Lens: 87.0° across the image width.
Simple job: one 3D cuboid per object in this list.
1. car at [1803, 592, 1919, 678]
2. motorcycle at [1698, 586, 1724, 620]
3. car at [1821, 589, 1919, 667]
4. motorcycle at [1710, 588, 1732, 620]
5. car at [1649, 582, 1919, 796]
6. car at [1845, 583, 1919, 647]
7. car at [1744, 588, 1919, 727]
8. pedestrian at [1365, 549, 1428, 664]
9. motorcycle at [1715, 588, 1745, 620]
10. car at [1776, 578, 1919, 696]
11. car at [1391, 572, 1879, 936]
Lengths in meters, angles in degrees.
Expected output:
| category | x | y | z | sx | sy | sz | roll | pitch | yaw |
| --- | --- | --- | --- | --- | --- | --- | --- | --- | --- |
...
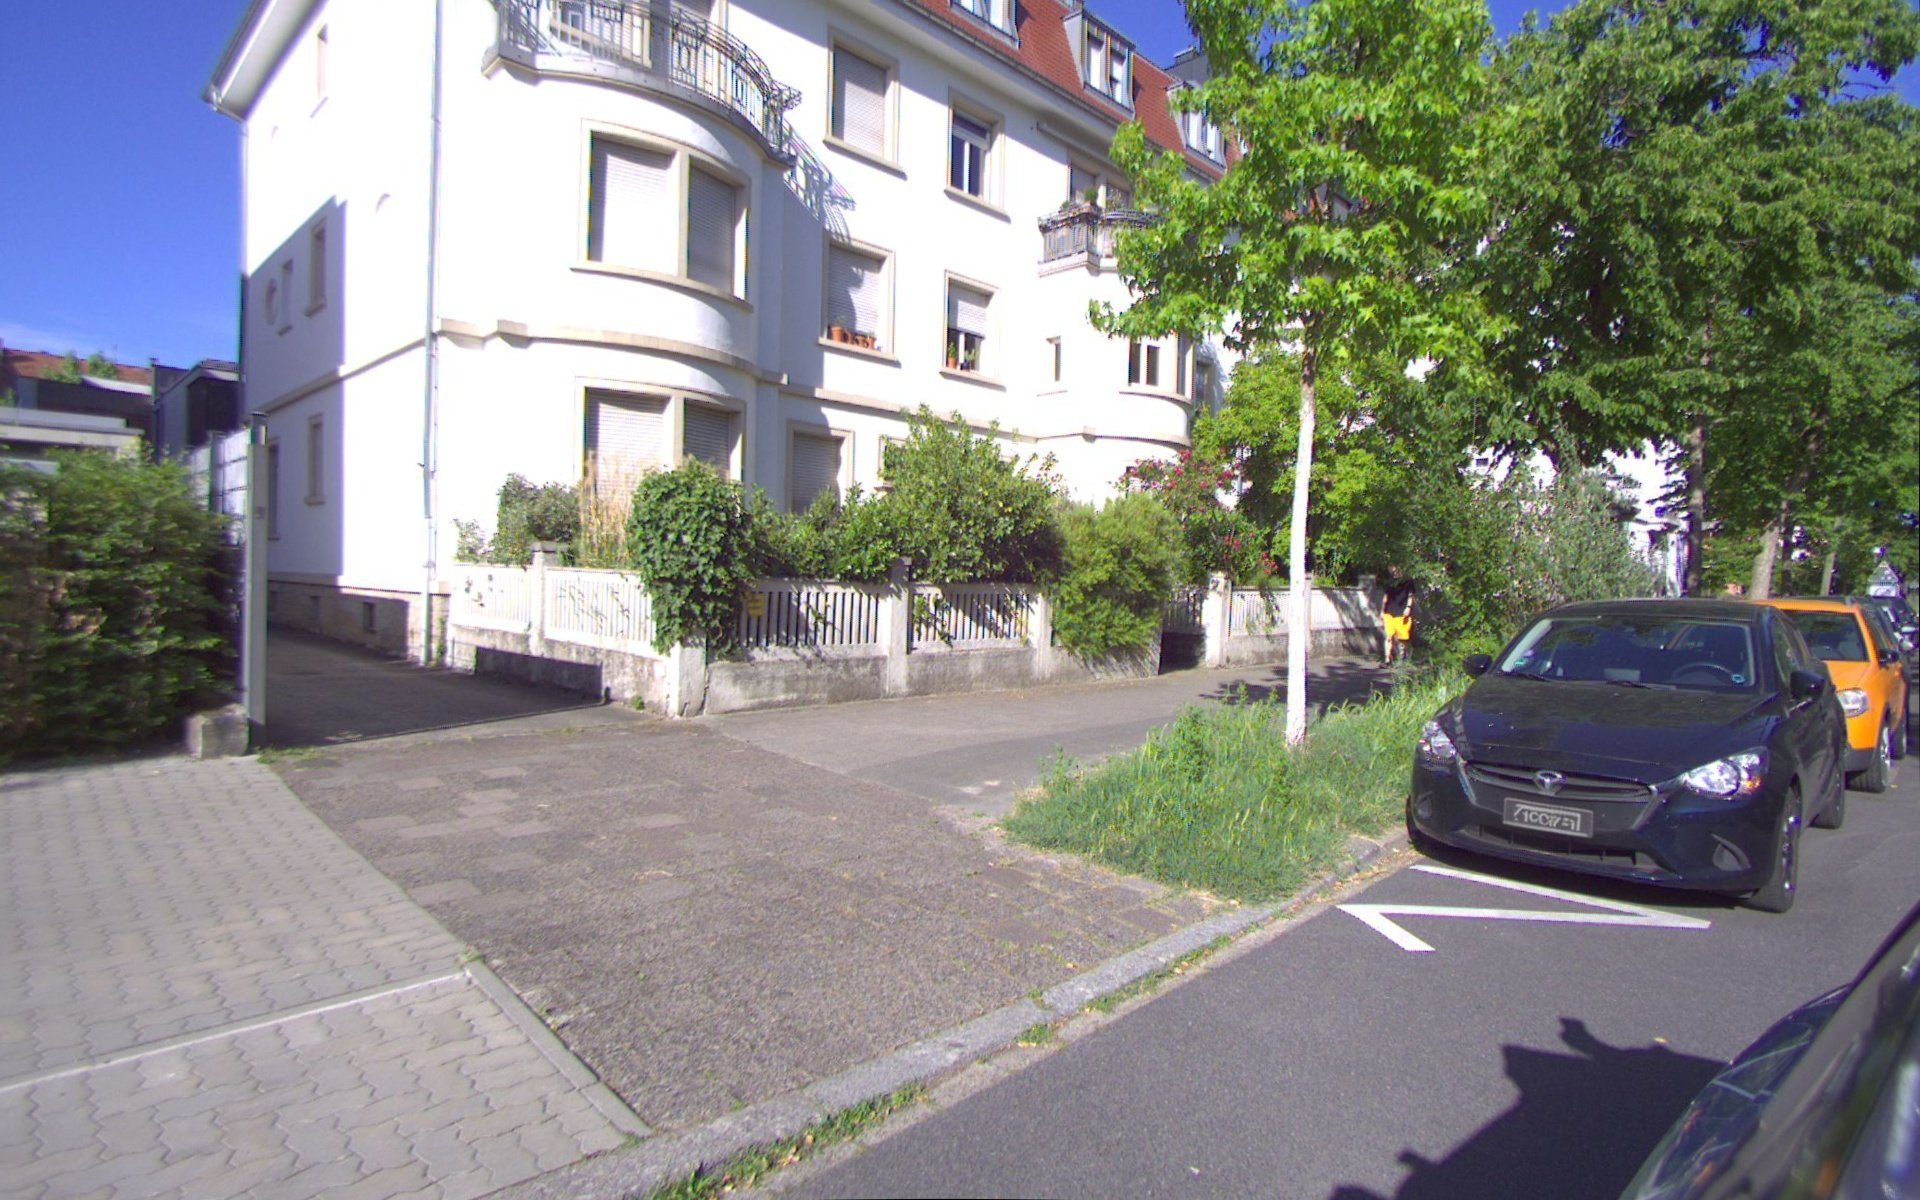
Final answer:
| category | x | y | z | sx | sy | sz | roll | pitch | yaw |
| --- | --- | --- | --- | --- | --- | --- | --- | --- | --- |
| car | 17.787 | 0.607 | 19.755 | 1.631 | 1.442 | 4.297 | 4 | 3 | 45 |
| motorcycle | 31.119 | 0.128 | 41.930 | 0.539 | 1.378 | 2.056 | 2 | 1 | 44 |
| car | 20.873 | 0.572 | 23.065 | 1.683 | 1.608 | 4.465 | -1 | 0 | 43 |
| motorcycle | 32.768 | 0.169 | 43.565 | 0.655 | 1.295 | 1.775 | 4 | 3 | 38 |
| car | 7.693 | 0.622 | 9.217 | 1.637 | 1.473 | 4.034 | 3 | 2 | 44 |
| car | 27.226 | 0.405 | 29.600 | 1.781 | 1.719 | 4.229 | 3 | 2 | 44 |
| car | 11.164 | 0.617 | 12.790 | 1.649 | 1.446 | 3.557 | 3 | 2 | 43 |
| pedestrian | 7.102 | 0.094 | 16.470 | 0.623 | 1.796 | 0.787 | 3 | 2 | 45 |
| motorcycle | 34.113 | 0.151 | 44.821 | 0.969 | 1.345 | 1.826 | 2 | 2 | 39 |
| car | 14.526 | 0.517 | 16.557 | 1.648 | 1.676 | 3.789 | 2 | 1 | 41 |
| car | 4.342 | 0.621 | 6.221 | 4.016 | 1.467 | 1.702 | 0 | 2 | -45 |
